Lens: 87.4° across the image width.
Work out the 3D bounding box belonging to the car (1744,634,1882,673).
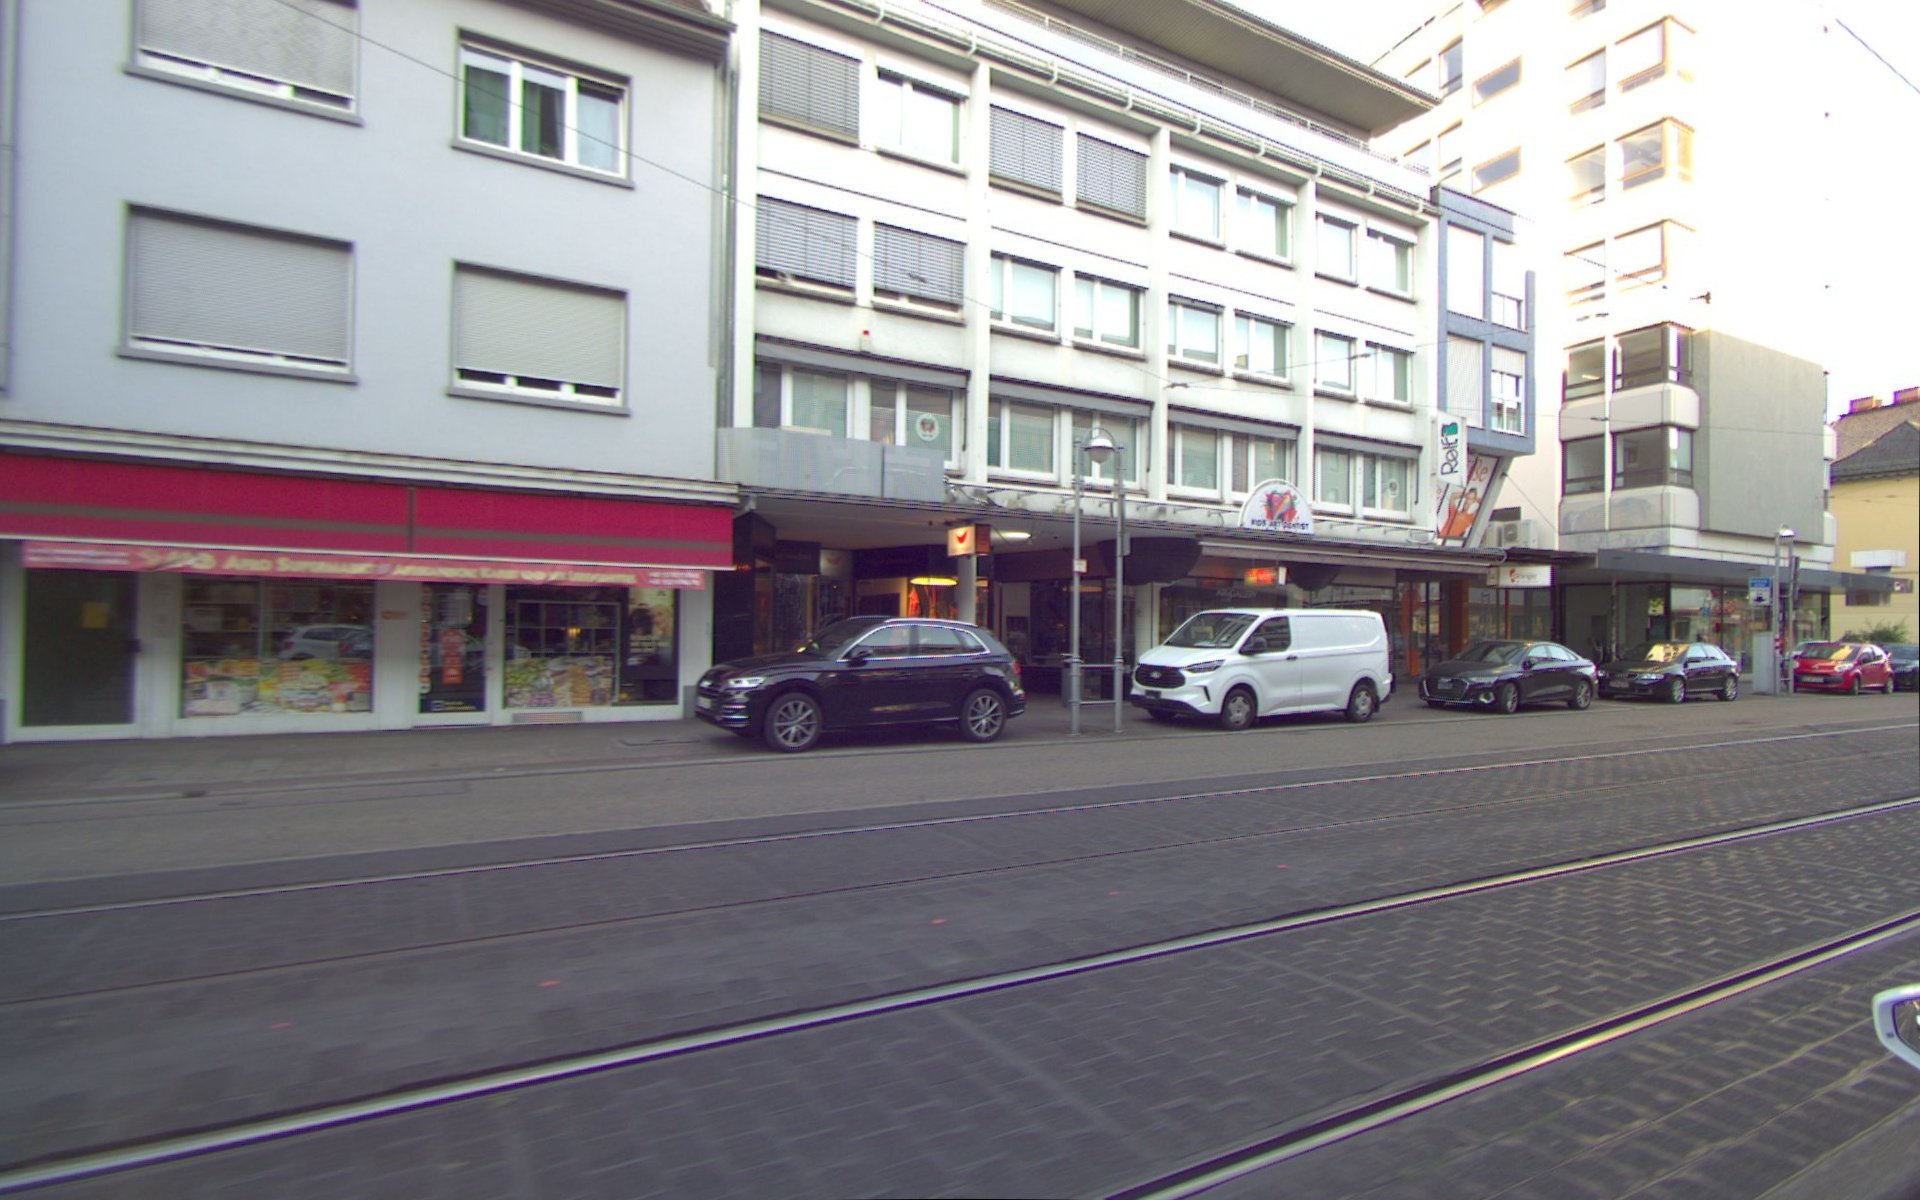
[{"bbox_3d":[35.170,2.159,41.506,1.823,1.486,3.972,1,-2,-27],"label":"car"}]

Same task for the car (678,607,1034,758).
[{"bbox_3d":[-1.353,1.015,13.690,4.476,1.744,1.848,2,0,-31],"label":"car"}]

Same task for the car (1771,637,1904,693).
[{"bbox_3d":[25.795,1.862,29.502,4.165,1.532,1.678,1,-2,-30],"label":"car"}]

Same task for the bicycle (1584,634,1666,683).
[{"bbox_3d":[20.478,1.792,30.962,0.824,1.444,1.958,1,-2,-31],"label":"bicycle"}]

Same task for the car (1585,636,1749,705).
[{"bbox_3d":[17.363,1.670,24.607,4.395,1.532,1.677,2,-1,-31],"label":"car"}]

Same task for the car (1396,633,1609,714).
[{"bbox_3d":[11.553,1.492,21.313,4.506,1.485,1.983,2,-1,-31],"label":"car"}]

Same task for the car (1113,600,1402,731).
[{"bbox_3d":[5.271,1.082,17.547,5.104,2.003,1.945,2,-2,-31],"label":"car"}]

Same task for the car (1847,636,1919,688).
[{"bbox_3d":[30.151,1.930,31.929,4.165,1.532,1.678,1,-2,-30],"label":"car"}]
